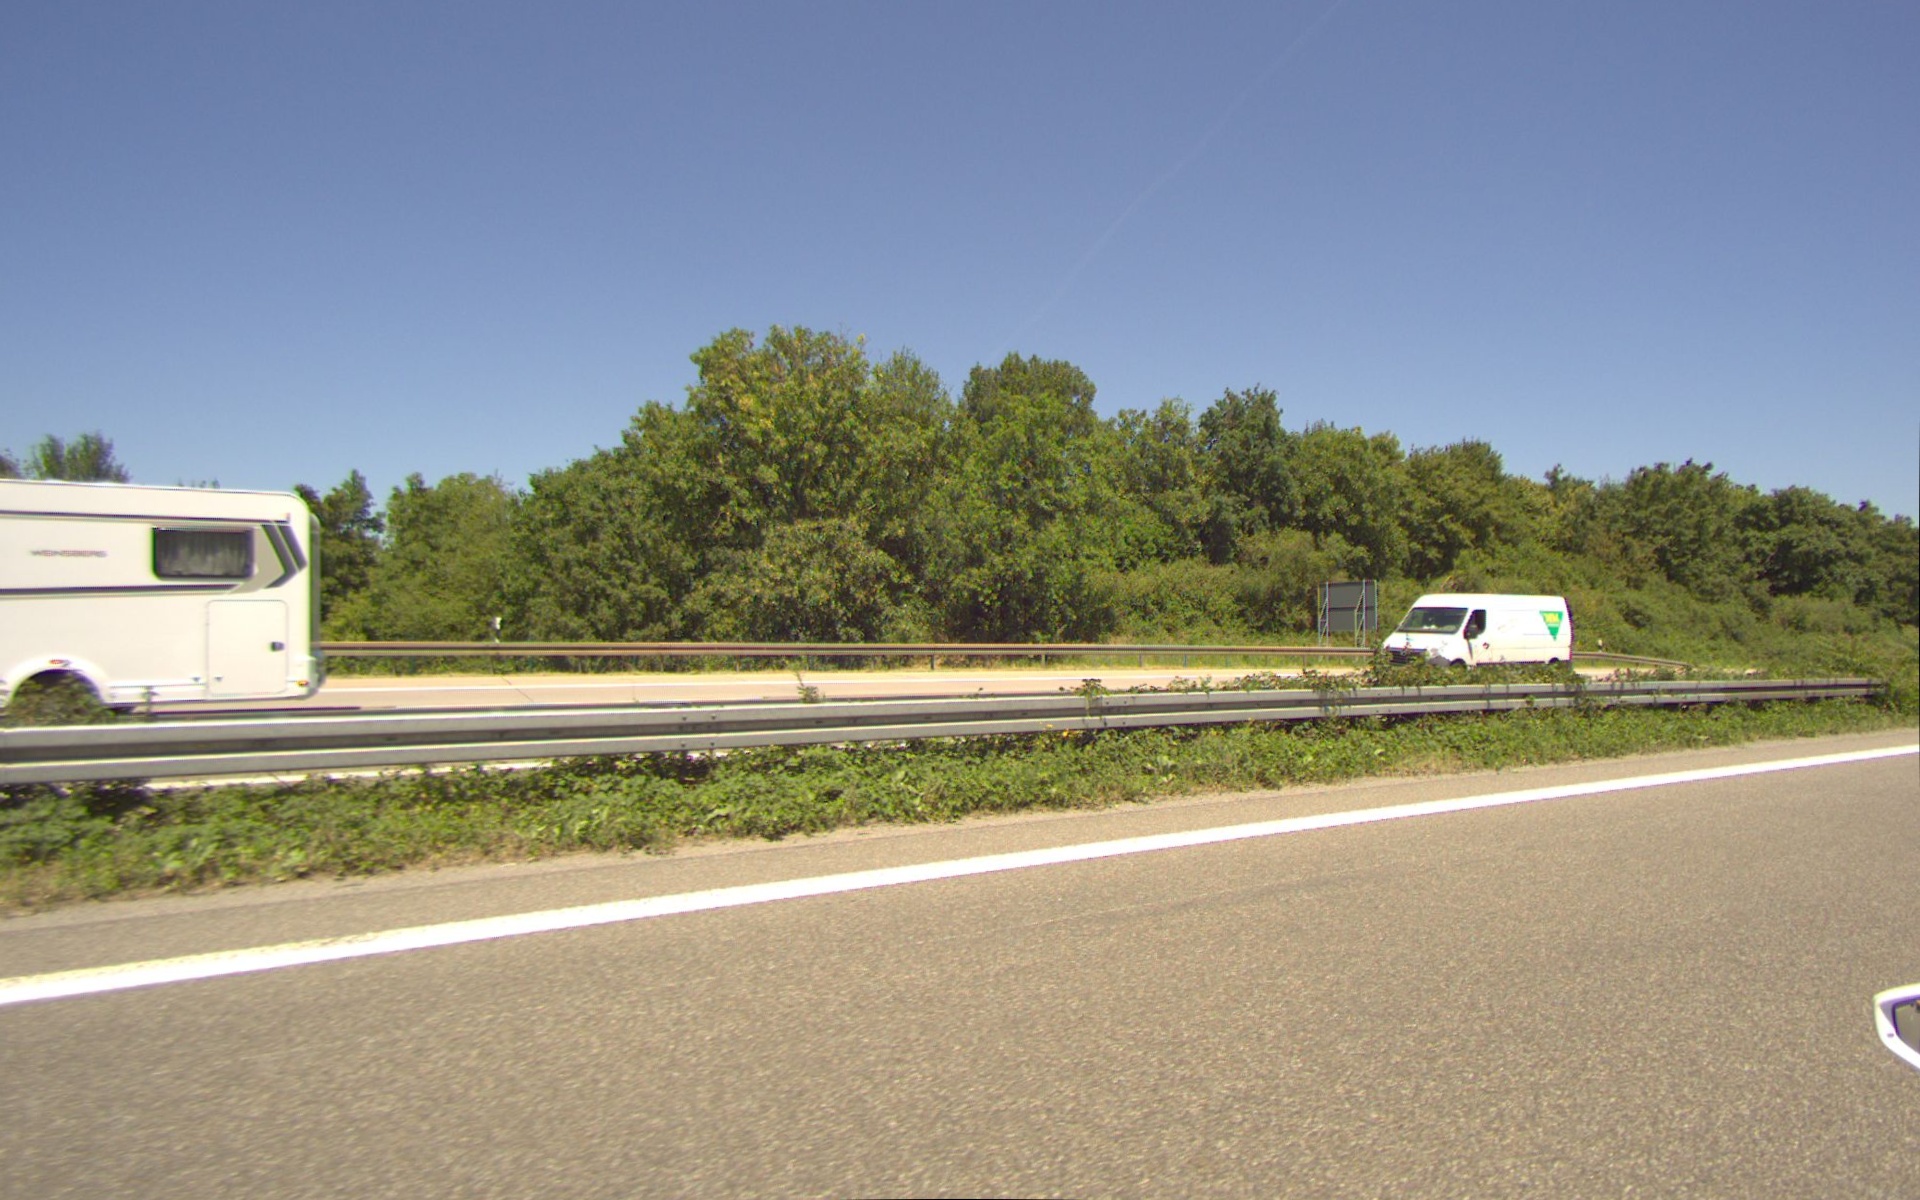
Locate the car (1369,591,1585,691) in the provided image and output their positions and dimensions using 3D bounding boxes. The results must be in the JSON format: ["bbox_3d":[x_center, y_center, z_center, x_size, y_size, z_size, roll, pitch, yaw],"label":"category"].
[{"bbox_3d":[14.103,1.100,27.277,6.345,2.473,2.204,2,-1,-31],"label":"car"}]

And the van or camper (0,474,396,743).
[{"bbox_3d":[-11.166,0.088,11.697,7.930,2.887,2.502,2,-1,-30],"label":"van or camper"}]
